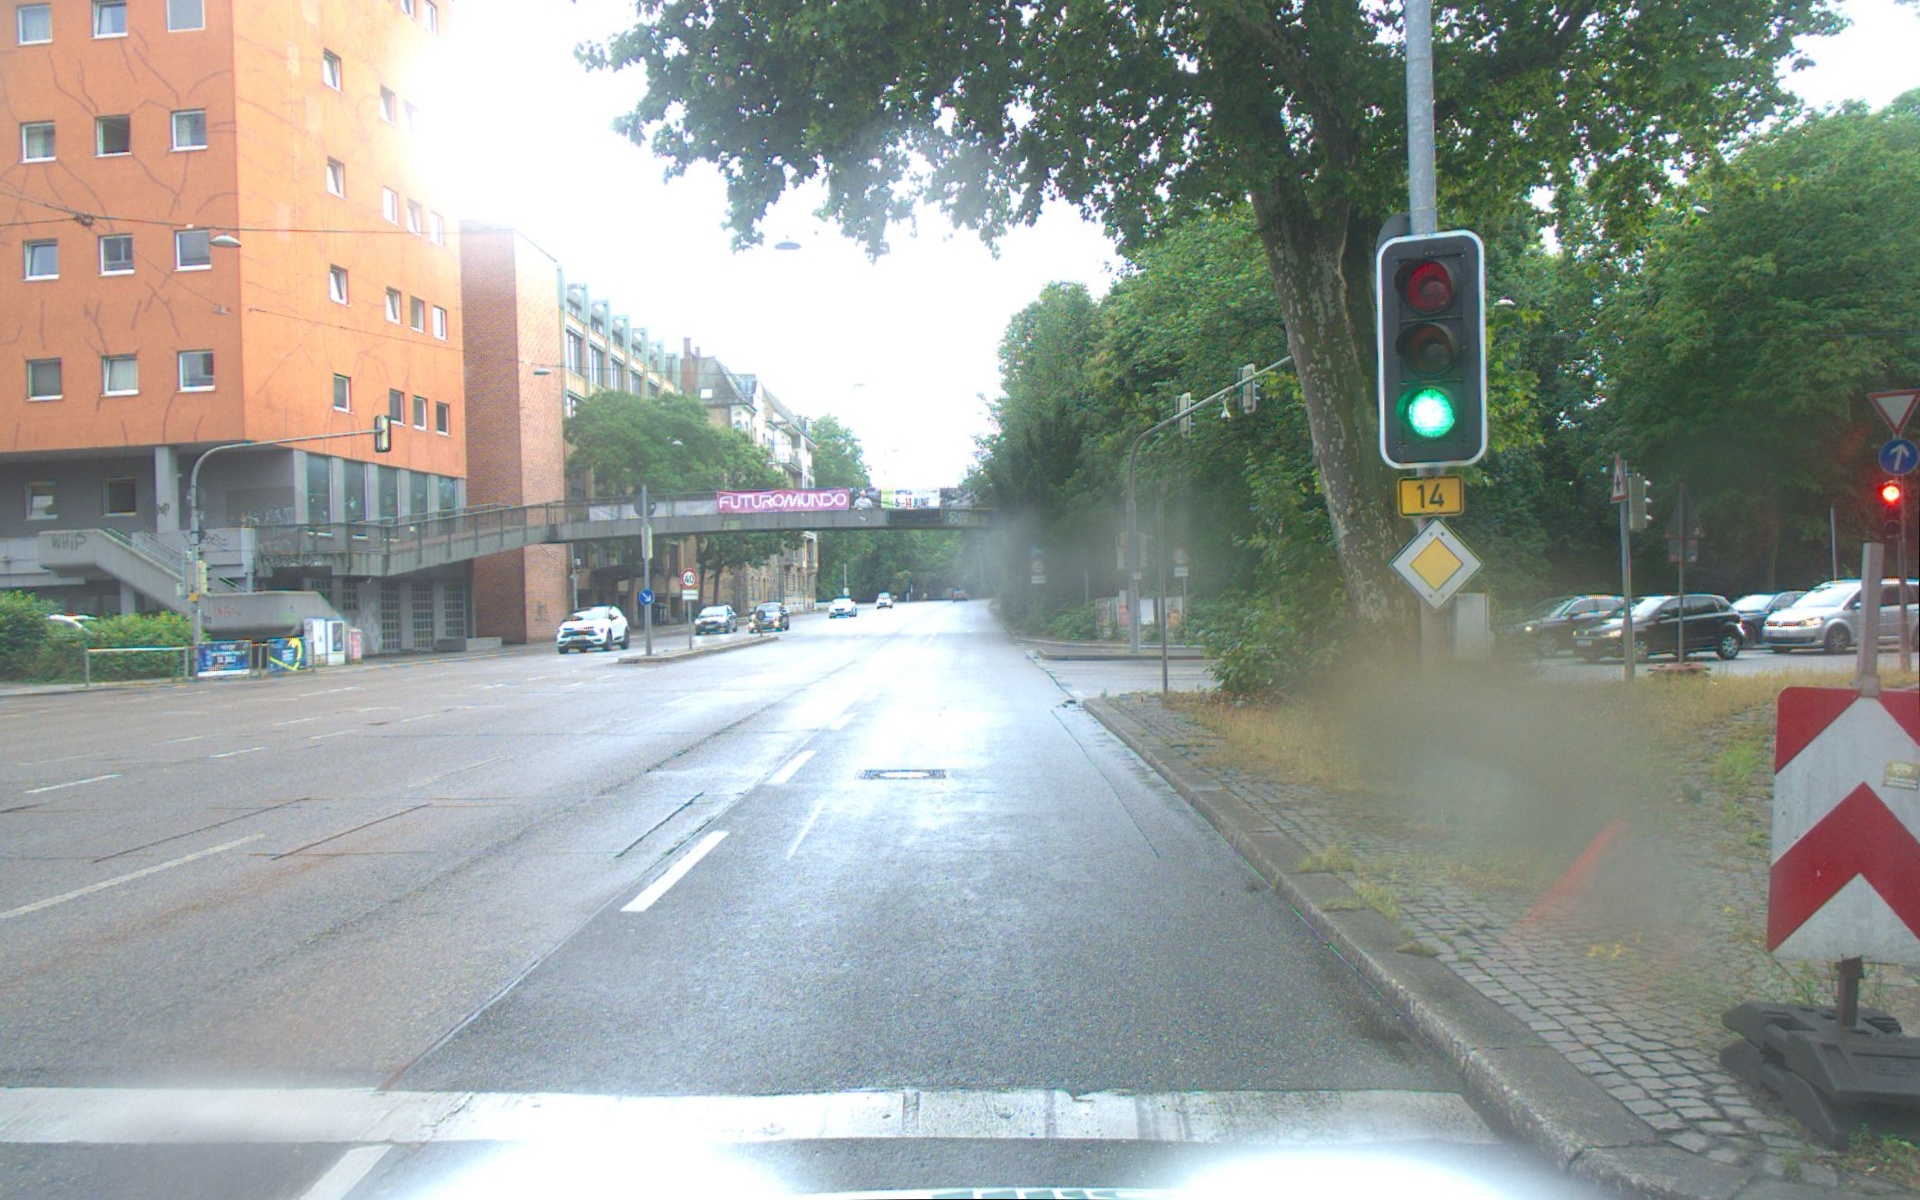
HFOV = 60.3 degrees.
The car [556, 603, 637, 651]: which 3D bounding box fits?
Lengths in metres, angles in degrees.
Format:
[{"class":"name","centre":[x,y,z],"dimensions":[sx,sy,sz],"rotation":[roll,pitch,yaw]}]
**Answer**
[{"class":"car","centre":[-13.304,0.970,60.736],"dimensions":[1.850,1.638,4.457],"rotation":[-1,0,2]}]

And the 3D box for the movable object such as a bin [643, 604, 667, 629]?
[{"class":"movable object such as a bin","centre":[-19.680,1.048,106.864],"dimensions":[1.256,1.545,1.273],"rotation":[-1,0,1]}]

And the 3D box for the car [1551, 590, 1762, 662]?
[{"class":"car","centre":[15.374,0.569,36.528],"dimensions":[4.119,1.486,1.785],"rotation":[1,0,-17]}]

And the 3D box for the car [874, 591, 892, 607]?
[{"class":"car","centre":[-7.739,-0.047,166.937],"dimensions":[1.568,1.525,3.712],"rotation":[-3,0,1]}]

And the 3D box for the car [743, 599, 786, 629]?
[{"class":"car","centre":[-9.903,0.700,84.148],"dimensions":[1.648,1.461,3.863],"rotation":[-2,0,1]}]

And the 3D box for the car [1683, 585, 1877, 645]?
[{"class":"car","centre":[20.767,0.374,41.921],"dimensions":[4.361,1.427,1.821],"rotation":[1,0,-17]}]

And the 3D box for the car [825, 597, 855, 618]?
[{"class":"car","centre":[-8.748,0.534,120.851],"dimensions":[1.793,1.418,4.405],"rotation":[-3,0,1]}]

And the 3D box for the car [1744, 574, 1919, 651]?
[{"class":"car","centre":[20.650,0.301,38.534],"dimensions":[4.129,1.709,1.898],"rotation":[1,0,-17]}]

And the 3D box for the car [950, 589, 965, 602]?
[{"class":"car","centre":[-0.319,-0.552,210.201],"dimensions":[1.963,1.672,4.375],"rotation":[-1,0,0]}]

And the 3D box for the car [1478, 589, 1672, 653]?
[{"class":"car","centre":[14.972,0.517,40.311],"dimensions":[4.131,1.466,1.941],"rotation":[1,0,-17]}]

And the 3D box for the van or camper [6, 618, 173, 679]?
[{"class":"van or camper","centre":[-25.676,1.413,48.852],"dimensions":[3.902,1.656,1.915],"rotation":[-1,0,5]}]

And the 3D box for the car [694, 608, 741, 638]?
[{"class":"car","centre":[-12.665,1.172,86.574],"dimensions":[1.673,1.490,4.042],"rotation":[-2,0,2]}]
